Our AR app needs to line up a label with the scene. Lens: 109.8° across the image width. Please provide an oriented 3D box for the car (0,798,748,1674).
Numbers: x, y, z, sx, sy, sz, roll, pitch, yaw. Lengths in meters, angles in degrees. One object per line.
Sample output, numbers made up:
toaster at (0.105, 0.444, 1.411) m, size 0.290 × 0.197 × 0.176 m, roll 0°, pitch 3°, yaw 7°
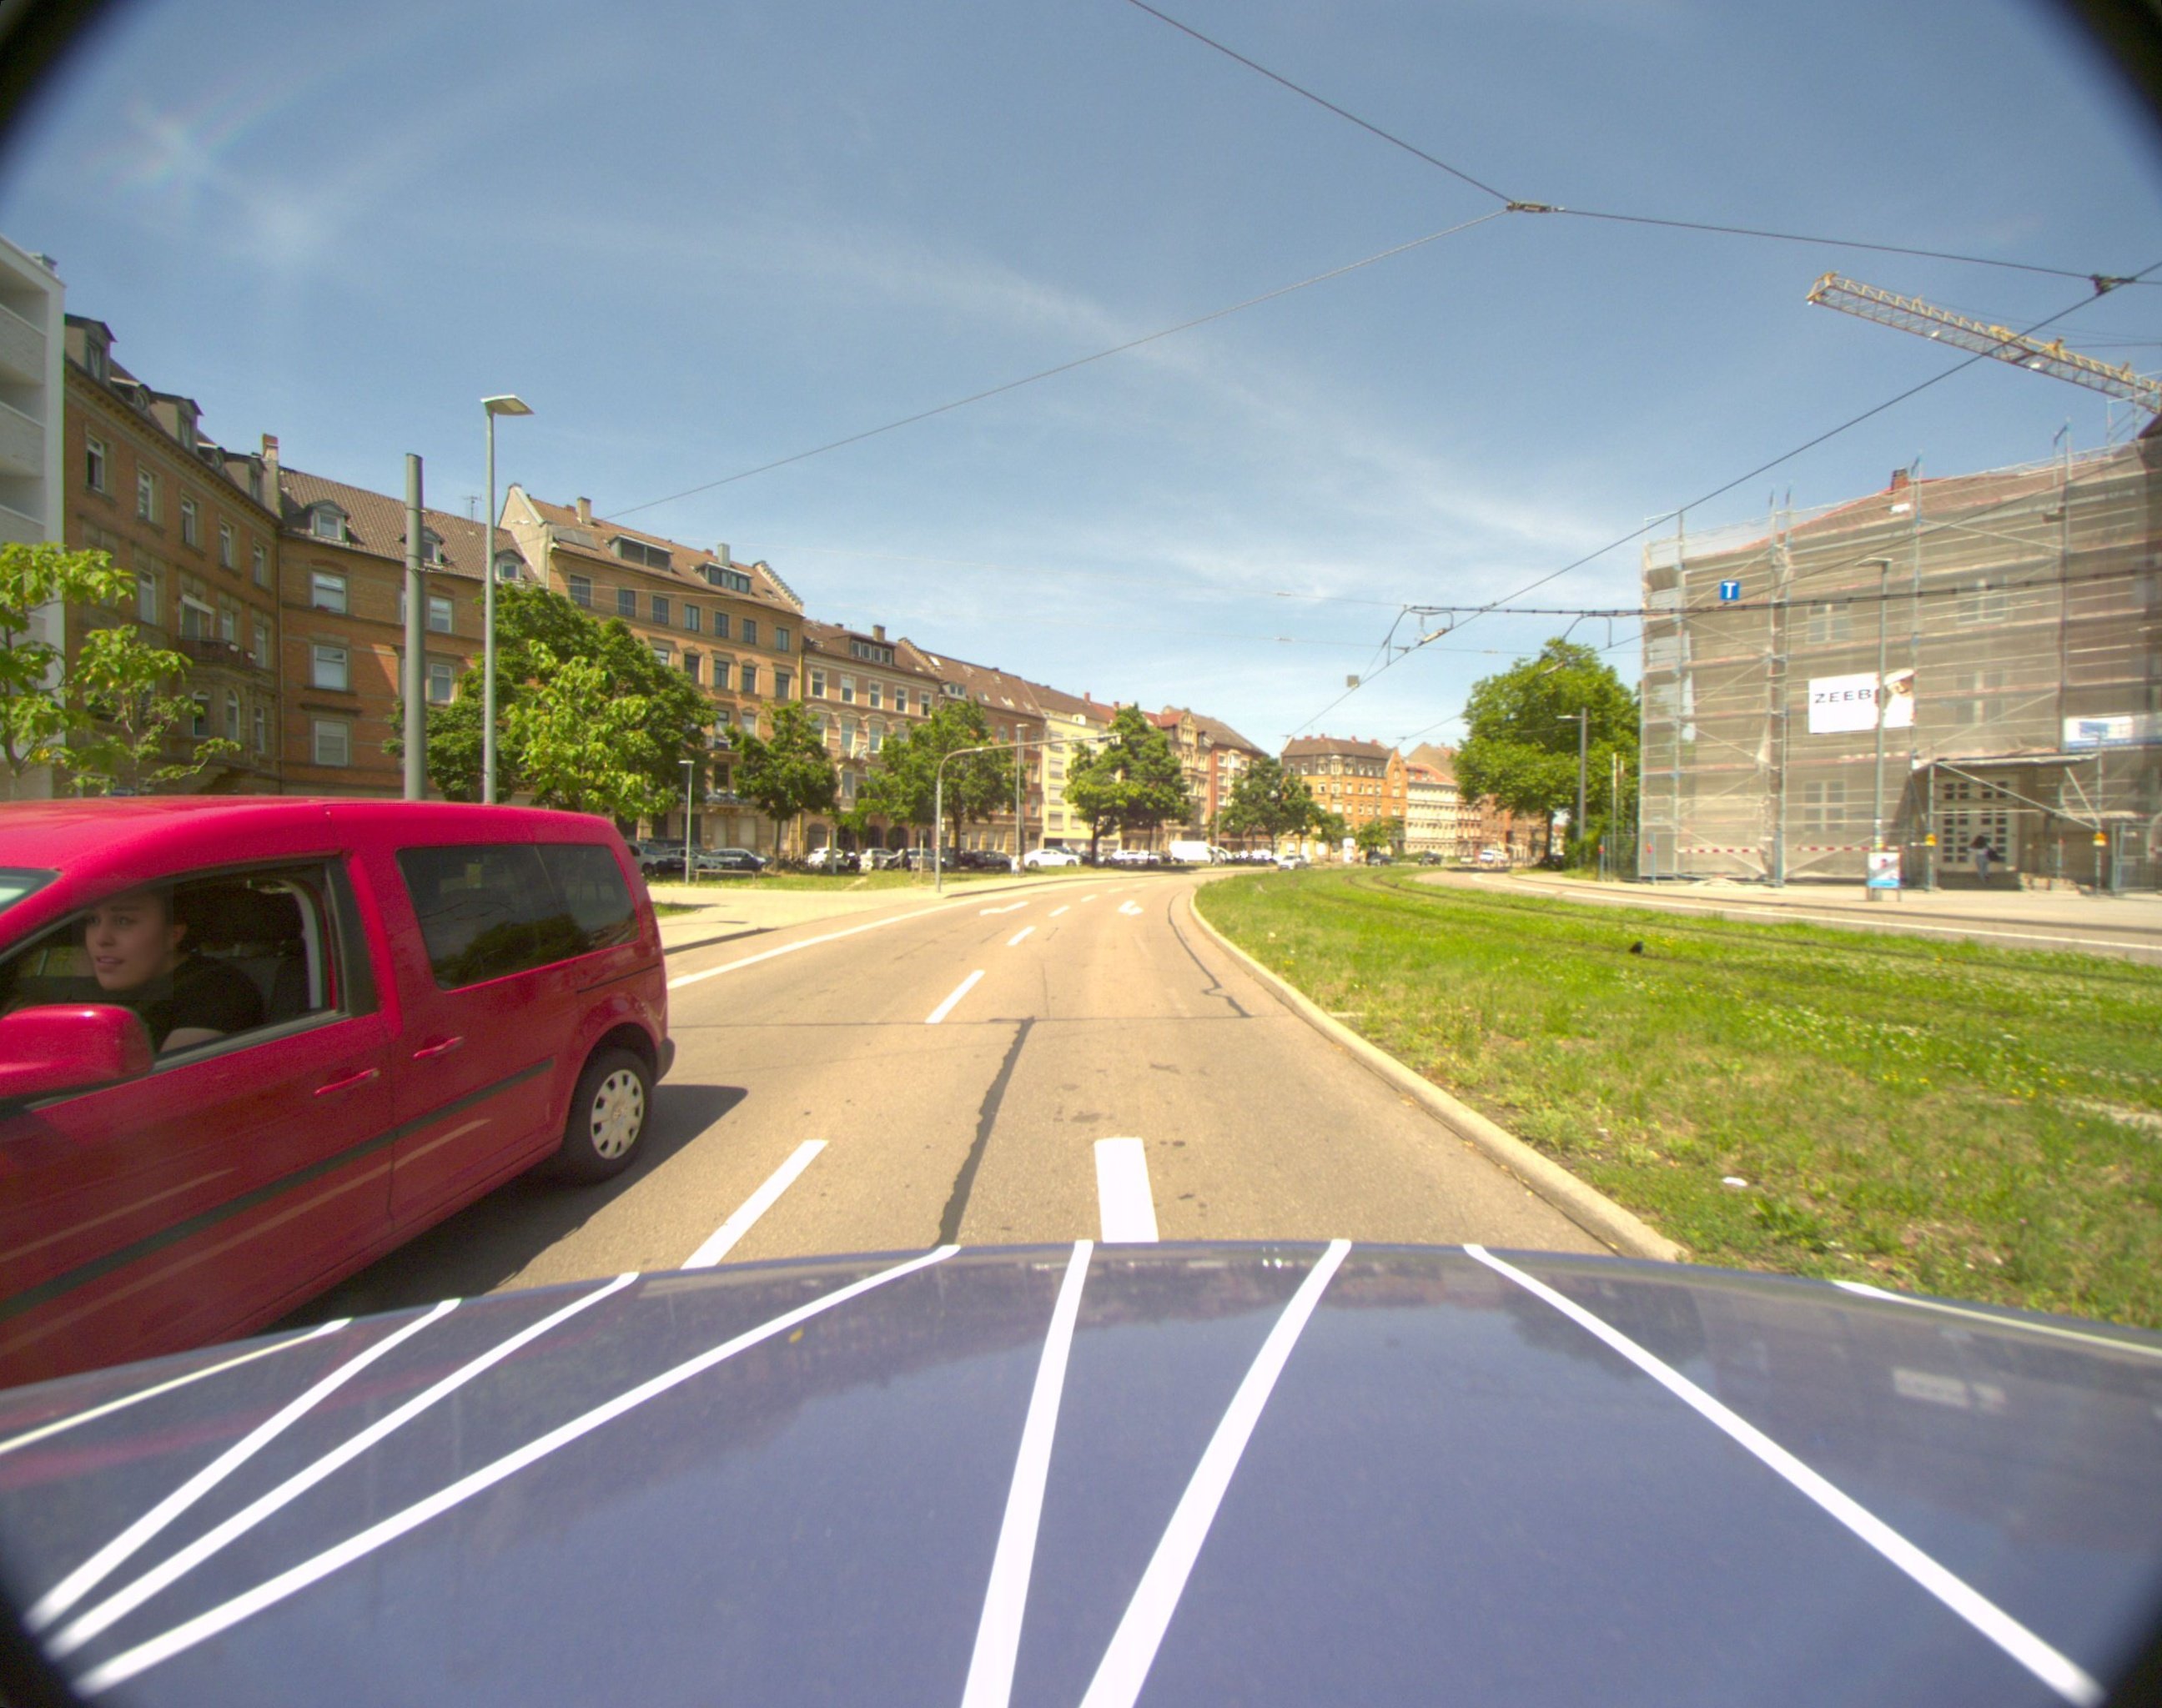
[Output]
car at (-3.194, 0.814, 2.571) m, size 1.859 × 1.823 × 5.166 m, roll -1°, pitch 0°, yaw 0°

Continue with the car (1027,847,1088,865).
car at (-1.874, 0.154, 60.818) m, size 4.785 × 1.305 × 2.149 m, roll -1°, pitch 0°, yaw -2°

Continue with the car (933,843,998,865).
car at (-8.058, 0.004, 53.262) m, size 4.085 × 1.461 × 1.800 m, roll -1°, pitch 0°, yaw 12°

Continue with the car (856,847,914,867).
car at (-15.030, 0.238, 58.298) m, size 1.837 × 1.521 × 4.008 m, roll -1°, pitch 0°, yaw 37°

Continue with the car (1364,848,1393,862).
car at (34.168, 0.161, 87.178) m, size 1.796 × 1.564 × 4.009 m, roll -1°, pitch 0°, yaw 41°

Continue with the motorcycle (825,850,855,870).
motorcycle at (-13.308, 0.340, 41.931) m, size 1.823 × 1.113 × 0.529 m, roll -1°, pitch 0°, yaw 32°

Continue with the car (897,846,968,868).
car at (-9.849, 0.193, 50.548) m, size 4.340 × 1.368 × 1.584 m, roll -1°, pitch 0°, yaw 13°

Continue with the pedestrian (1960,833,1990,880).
pedestrian at (28.962, 0.080, 24.606) m, size 0.590 × 1.509 × 0.579 m, roll -1°, pitch 0°, yaw -37°

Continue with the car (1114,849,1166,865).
car at (5.443, 0.254, 70.309) m, size 4.688 × 1.419 × 1.973 m, roll -1°, pitch 0°, yaw 3°

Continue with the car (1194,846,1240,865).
car at (14.756, 0.120, 82.298) m, size 4.840 × 1.961 × 2.078 m, roll -1°, pitch 0°, yaw 10°

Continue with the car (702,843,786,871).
car at (-18.137, 0.162, 40.911) m, size 3.862 × 1.424 × 1.609 m, roll -1°, pitch 0°, yaw 10°

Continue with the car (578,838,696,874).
car at (-21.162, 0.108, 36.279) m, size 4.866 × 1.591 × 1.838 m, roll -1°, pitch 0°, yaw 12°

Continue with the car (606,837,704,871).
car at (-25.277, 0.001, 45.208) m, size 1.920 × 1.892 × 4.664 m, roll -1°, pitch 0°, yaw 39°

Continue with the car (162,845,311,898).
car at (-28.456, 0.561, 25.798) m, size 1.697 × 1.615 × 4.123 m, roll -1°, pitch 0°, yaw -21°

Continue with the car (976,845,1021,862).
car at (-7.263, -0.043, 67.141) m, size 1.779 × 1.411 × 3.724 m, roll -1°, pitch 0°, yaw 38°

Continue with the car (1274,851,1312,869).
car at (19.497, 0.518, 69.742) m, size 1.796 × 1.564 × 4.009 m, roll -1°, pitch 0°, yaw 41°

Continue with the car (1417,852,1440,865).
car at (45.129, 0.595, 98.553) m, size 1.796 × 1.564 × 4.008 m, roll -1°, pitch 0°, yaw 38°

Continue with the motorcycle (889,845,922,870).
motorcycle at (-10.234, 0.196, 44.342) m, size 0.675 × 1.405 × 1.860 m, roll 2°, pitch 1°, yaw 40°

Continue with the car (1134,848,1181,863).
car at (7.362, 0.163, 73.204) m, size 4.427 × 1.330 × 1.973 m, roll -1°, pitch 0°, yaw 3°

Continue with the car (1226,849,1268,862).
car at (19.113, 0.192, 87.336) m, size 4.624 × 1.488 × 1.968 m, roll -1°, pitch 0°, yaw 15°

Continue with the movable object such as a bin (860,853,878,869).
movable object such as a bin at (-12.642, 0.436, 45.310) m, size 0.703 × 0.931 × 0.986 m, roll -1°, pitch 0°, yaw -39°

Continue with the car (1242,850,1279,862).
car at (21.208, 0.209, 89.713) m, size 3.991 × 1.391 × 1.826 m, roll -1°, pitch 0°, yaw 18°

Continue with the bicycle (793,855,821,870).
bicycle at (-15.331, 0.467, 42.531) m, size 1.457 × 0.800 × 0.498 m, roll -1°, pitch 0°, yaw -17°

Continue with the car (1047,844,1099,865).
car at (-0.641, 0.040, 63.410) m, size 3.993 × 1.652 × 1.974 m, roll -1°, pitch 0°, yaw 12°

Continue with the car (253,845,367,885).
car at (-31.646, 0.425, 31.347) m, size 1.779 × 1.520 × 4.074 m, roll -1°, pitch 0°, yaw -22°

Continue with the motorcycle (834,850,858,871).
motorcycle at (-14.492, 0.404, 46.887) m, size 0.814 × 1.229 × 2.080 m, roll -1°, pitch 0°, yaw -35°

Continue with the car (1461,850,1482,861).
car at (59.349, 0.205, 115.455) m, size 1.796 × 1.564 × 4.008 m, roll -1°, pitch 0°, yaw 43°

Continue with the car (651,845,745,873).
car at (-19.392, 0.267, 38.547) m, size 3.993 × 1.324 × 1.761 m, roll -1°, pitch 0°, yaw 12°

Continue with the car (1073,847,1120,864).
car at (1.353, 0.150, 65.412) m, size 3.996 × 1.392 × 1.713 m, roll -1°, pitch 0°, yaw 3°

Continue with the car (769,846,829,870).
car at (-16.874, 0.245, 45.440) m, size 1.961 × 1.368 × 3.989 m, roll -1°, pitch 0°, yaw -43°

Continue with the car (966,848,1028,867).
car at (-6.068, 0.264, 55.193) m, size 3.992 × 1.305 × 1.975 m, roll -1°, pitch 0°, yaw 17°

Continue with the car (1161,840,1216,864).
car at (11.205, -0.187, 79.746) m, size 5.546 × 2.446 × 2.238 m, roll -1°, pitch 0°, yaw 3°

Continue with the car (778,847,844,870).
car at (-18.943, 0.300, 53.415) m, size 1.837 × 1.521 × 4.009 m, roll -1°, pitch 0°, yaw 41°

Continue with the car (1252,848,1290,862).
car at (23.069, 0.167, 92.181) m, size 4.403 × 1.622 × 2.003 m, roll -1°, pitch 0°, yaw 17°
